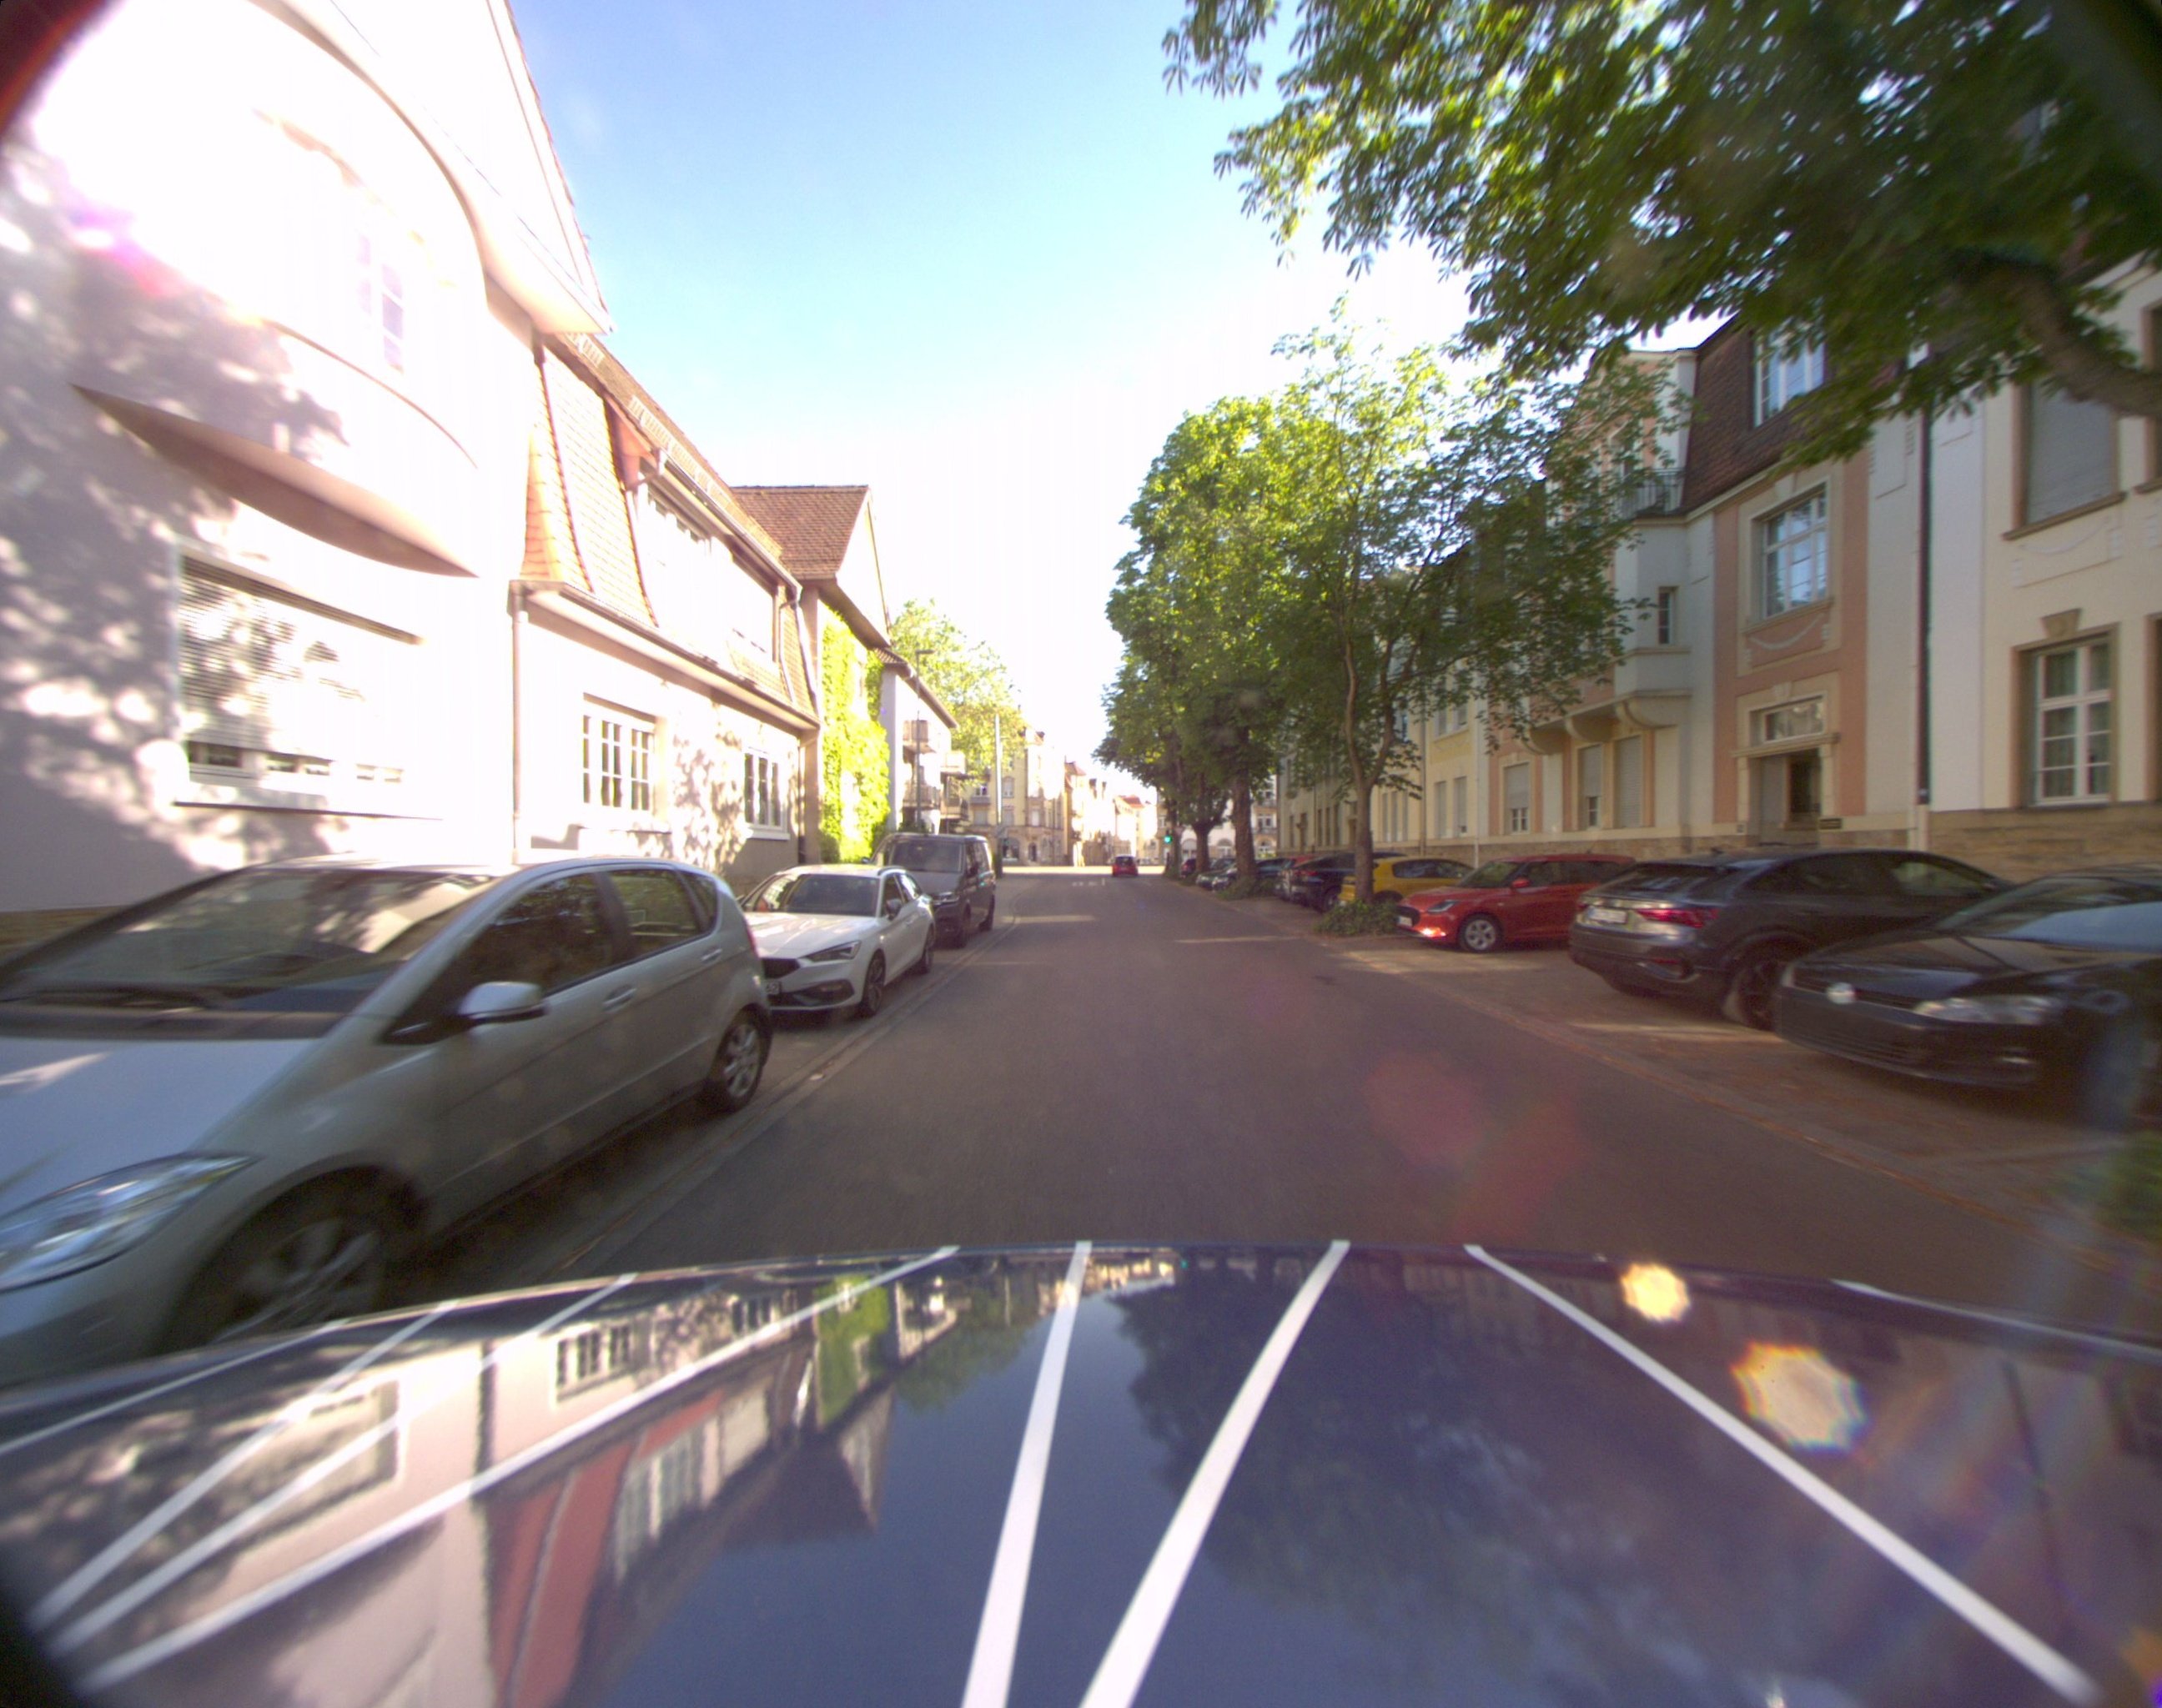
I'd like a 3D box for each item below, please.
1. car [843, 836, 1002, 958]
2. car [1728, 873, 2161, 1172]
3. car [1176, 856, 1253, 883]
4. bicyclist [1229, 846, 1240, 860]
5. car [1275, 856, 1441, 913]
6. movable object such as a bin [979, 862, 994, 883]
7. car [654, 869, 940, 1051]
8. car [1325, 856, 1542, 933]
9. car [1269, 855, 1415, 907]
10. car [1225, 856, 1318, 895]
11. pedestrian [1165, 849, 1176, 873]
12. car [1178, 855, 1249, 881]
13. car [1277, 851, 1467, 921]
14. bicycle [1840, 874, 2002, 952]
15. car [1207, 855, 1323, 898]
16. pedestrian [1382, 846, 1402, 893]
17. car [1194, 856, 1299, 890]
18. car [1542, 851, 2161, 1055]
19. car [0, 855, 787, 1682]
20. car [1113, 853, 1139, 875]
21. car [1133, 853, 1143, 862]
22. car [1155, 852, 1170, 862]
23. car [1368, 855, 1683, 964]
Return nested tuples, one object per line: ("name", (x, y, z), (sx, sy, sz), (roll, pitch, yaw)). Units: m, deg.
("car", (-2.787, 0.685, 14.545), (1.869, 1.905, 4.782), (1, 0, 2))
("car", (6.823, 0.889, 4.709), (3.910, 1.438, 1.860), (-2, 1, 6))
("car", (7.331, 0.815, 41.856), (3.893, 1.407, 1.614), (-1, 1, -4))
("bicyclist", (16.719, -0.079, 82.657), (1.074, 1.533, 0.687), (0, 1, 1))
("car", (7.709, 0.830, 21.441), (3.996, 1.395, 1.830), (-2, 1, 3))
("movable object such as a bin", (-4.775, 0.931, 38.463), (0.598, 1.038, 0.707), (3, 1, -1))
("car", (-2.833, 0.955, 8.714), (1.683, 1.449, 4.438), (0, 0, -1))
("car", (7.433, 0.828, 16.322), (3.799, 1.453, 1.863), (-2, 1, 3))
("car", (8.064, 0.804, 23.755), (3.996, 1.499, 1.722), (0, 1, 3))
("car", (7.758, 0.869, 31.237), (3.441, 1.444, 1.703), (-1, 1, 4))
("pedestrian", (6.176, 0.471, 52.376), (0.695, 1.672, 0.681), (0, 1, 12))
("car", (7.686, 0.786, 44.356), (3.892, 1.467, 1.615), (0, 1, 1))
("car", (7.110, 0.757, 18.896), (3.996, 1.557, 1.863), (-2, 1, 3))
("bicycle", (11.723, 0.789, 10.676), (0.627, 0.927, 1.496), (-3, 1, 1))
("car", (6.883, 0.824, 28.797), (3.996, 1.474, 1.785), (-1, 1, 3))
("pedestrian", (10.916, 0.531, 26.709), (0.460, 1.648, 0.895), (0, 1, 10))
("car", (7.221, 0.822, 33.416), (4.222, 1.341, 1.703), (-1, 1, 1))
("car", (6.937, 0.815, 7.186), (3.997, 1.583, 1.859), (-2, 1, 1))
("car", (-3.026, 0.863, 3.256), (1.793, 1.591, 4.000), (2, 1, 3))
("car", (3.088, 0.665, 52.932), (1.645, 1.499, 3.702), (1, 0, 1))
("car", (9.963, 0.603, 132.592), (1.664, 1.455, 3.809), (0, 0, 2))
("car", (14.250, 0.497, 132.240), (1.915, 1.649, 4.351), (-4, -1, 14))
("car", (6.912, 0.831, 12.126), (3.996, 1.506, 1.747), (-1, 1, 1))
